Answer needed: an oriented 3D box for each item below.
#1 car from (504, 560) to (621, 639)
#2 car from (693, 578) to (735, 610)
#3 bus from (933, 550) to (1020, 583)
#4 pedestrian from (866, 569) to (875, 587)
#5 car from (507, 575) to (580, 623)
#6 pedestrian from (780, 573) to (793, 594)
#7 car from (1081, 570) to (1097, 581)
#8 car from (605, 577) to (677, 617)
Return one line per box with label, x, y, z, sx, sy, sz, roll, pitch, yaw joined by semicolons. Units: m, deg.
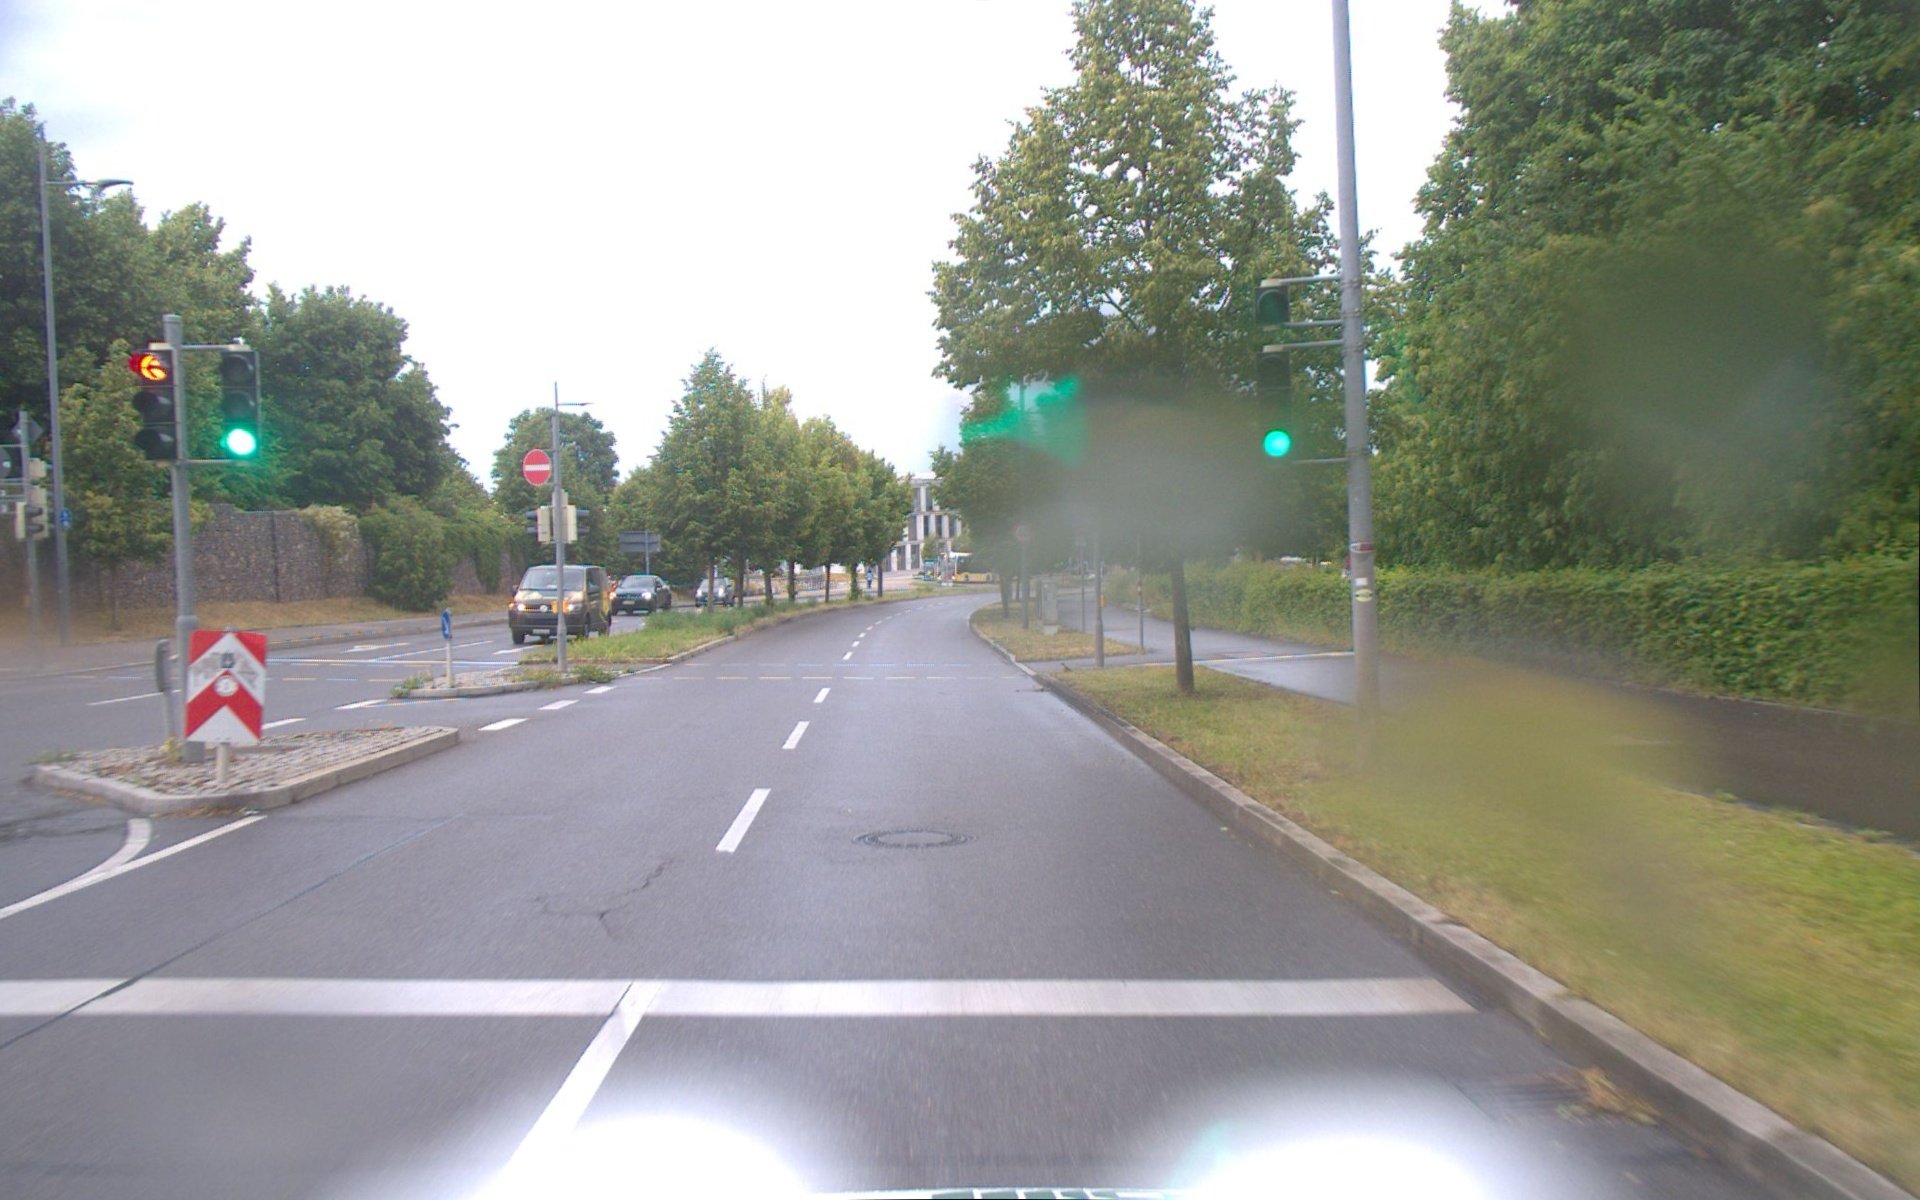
car;-10.325;-0.042;43.335;1.973;1.952;5.094;0;1;-2
car;-12.829;-0.320;86.497;1.651;1.566;2.917;0;2;2
bus;2.117;-3.832;192.413;2.730;3.416;18.212;0;0;25
pedestrian;-8.021;-2.000;148.365;0.818;1.601;0.718;0;0;-6
car;-13.531;-0.068;53.922;1.566;1.515;3.998;0;1;-3
pedestrian;-13.703;-1.282;130.739;0.796;1.649;0.936;0;0;11
car;18.038;-3.475;231.435;1.448;1.520;2.529;0;0;23
car;-13.357;-0.145;69.447;1.842;1.623;4.769;1;1;3
